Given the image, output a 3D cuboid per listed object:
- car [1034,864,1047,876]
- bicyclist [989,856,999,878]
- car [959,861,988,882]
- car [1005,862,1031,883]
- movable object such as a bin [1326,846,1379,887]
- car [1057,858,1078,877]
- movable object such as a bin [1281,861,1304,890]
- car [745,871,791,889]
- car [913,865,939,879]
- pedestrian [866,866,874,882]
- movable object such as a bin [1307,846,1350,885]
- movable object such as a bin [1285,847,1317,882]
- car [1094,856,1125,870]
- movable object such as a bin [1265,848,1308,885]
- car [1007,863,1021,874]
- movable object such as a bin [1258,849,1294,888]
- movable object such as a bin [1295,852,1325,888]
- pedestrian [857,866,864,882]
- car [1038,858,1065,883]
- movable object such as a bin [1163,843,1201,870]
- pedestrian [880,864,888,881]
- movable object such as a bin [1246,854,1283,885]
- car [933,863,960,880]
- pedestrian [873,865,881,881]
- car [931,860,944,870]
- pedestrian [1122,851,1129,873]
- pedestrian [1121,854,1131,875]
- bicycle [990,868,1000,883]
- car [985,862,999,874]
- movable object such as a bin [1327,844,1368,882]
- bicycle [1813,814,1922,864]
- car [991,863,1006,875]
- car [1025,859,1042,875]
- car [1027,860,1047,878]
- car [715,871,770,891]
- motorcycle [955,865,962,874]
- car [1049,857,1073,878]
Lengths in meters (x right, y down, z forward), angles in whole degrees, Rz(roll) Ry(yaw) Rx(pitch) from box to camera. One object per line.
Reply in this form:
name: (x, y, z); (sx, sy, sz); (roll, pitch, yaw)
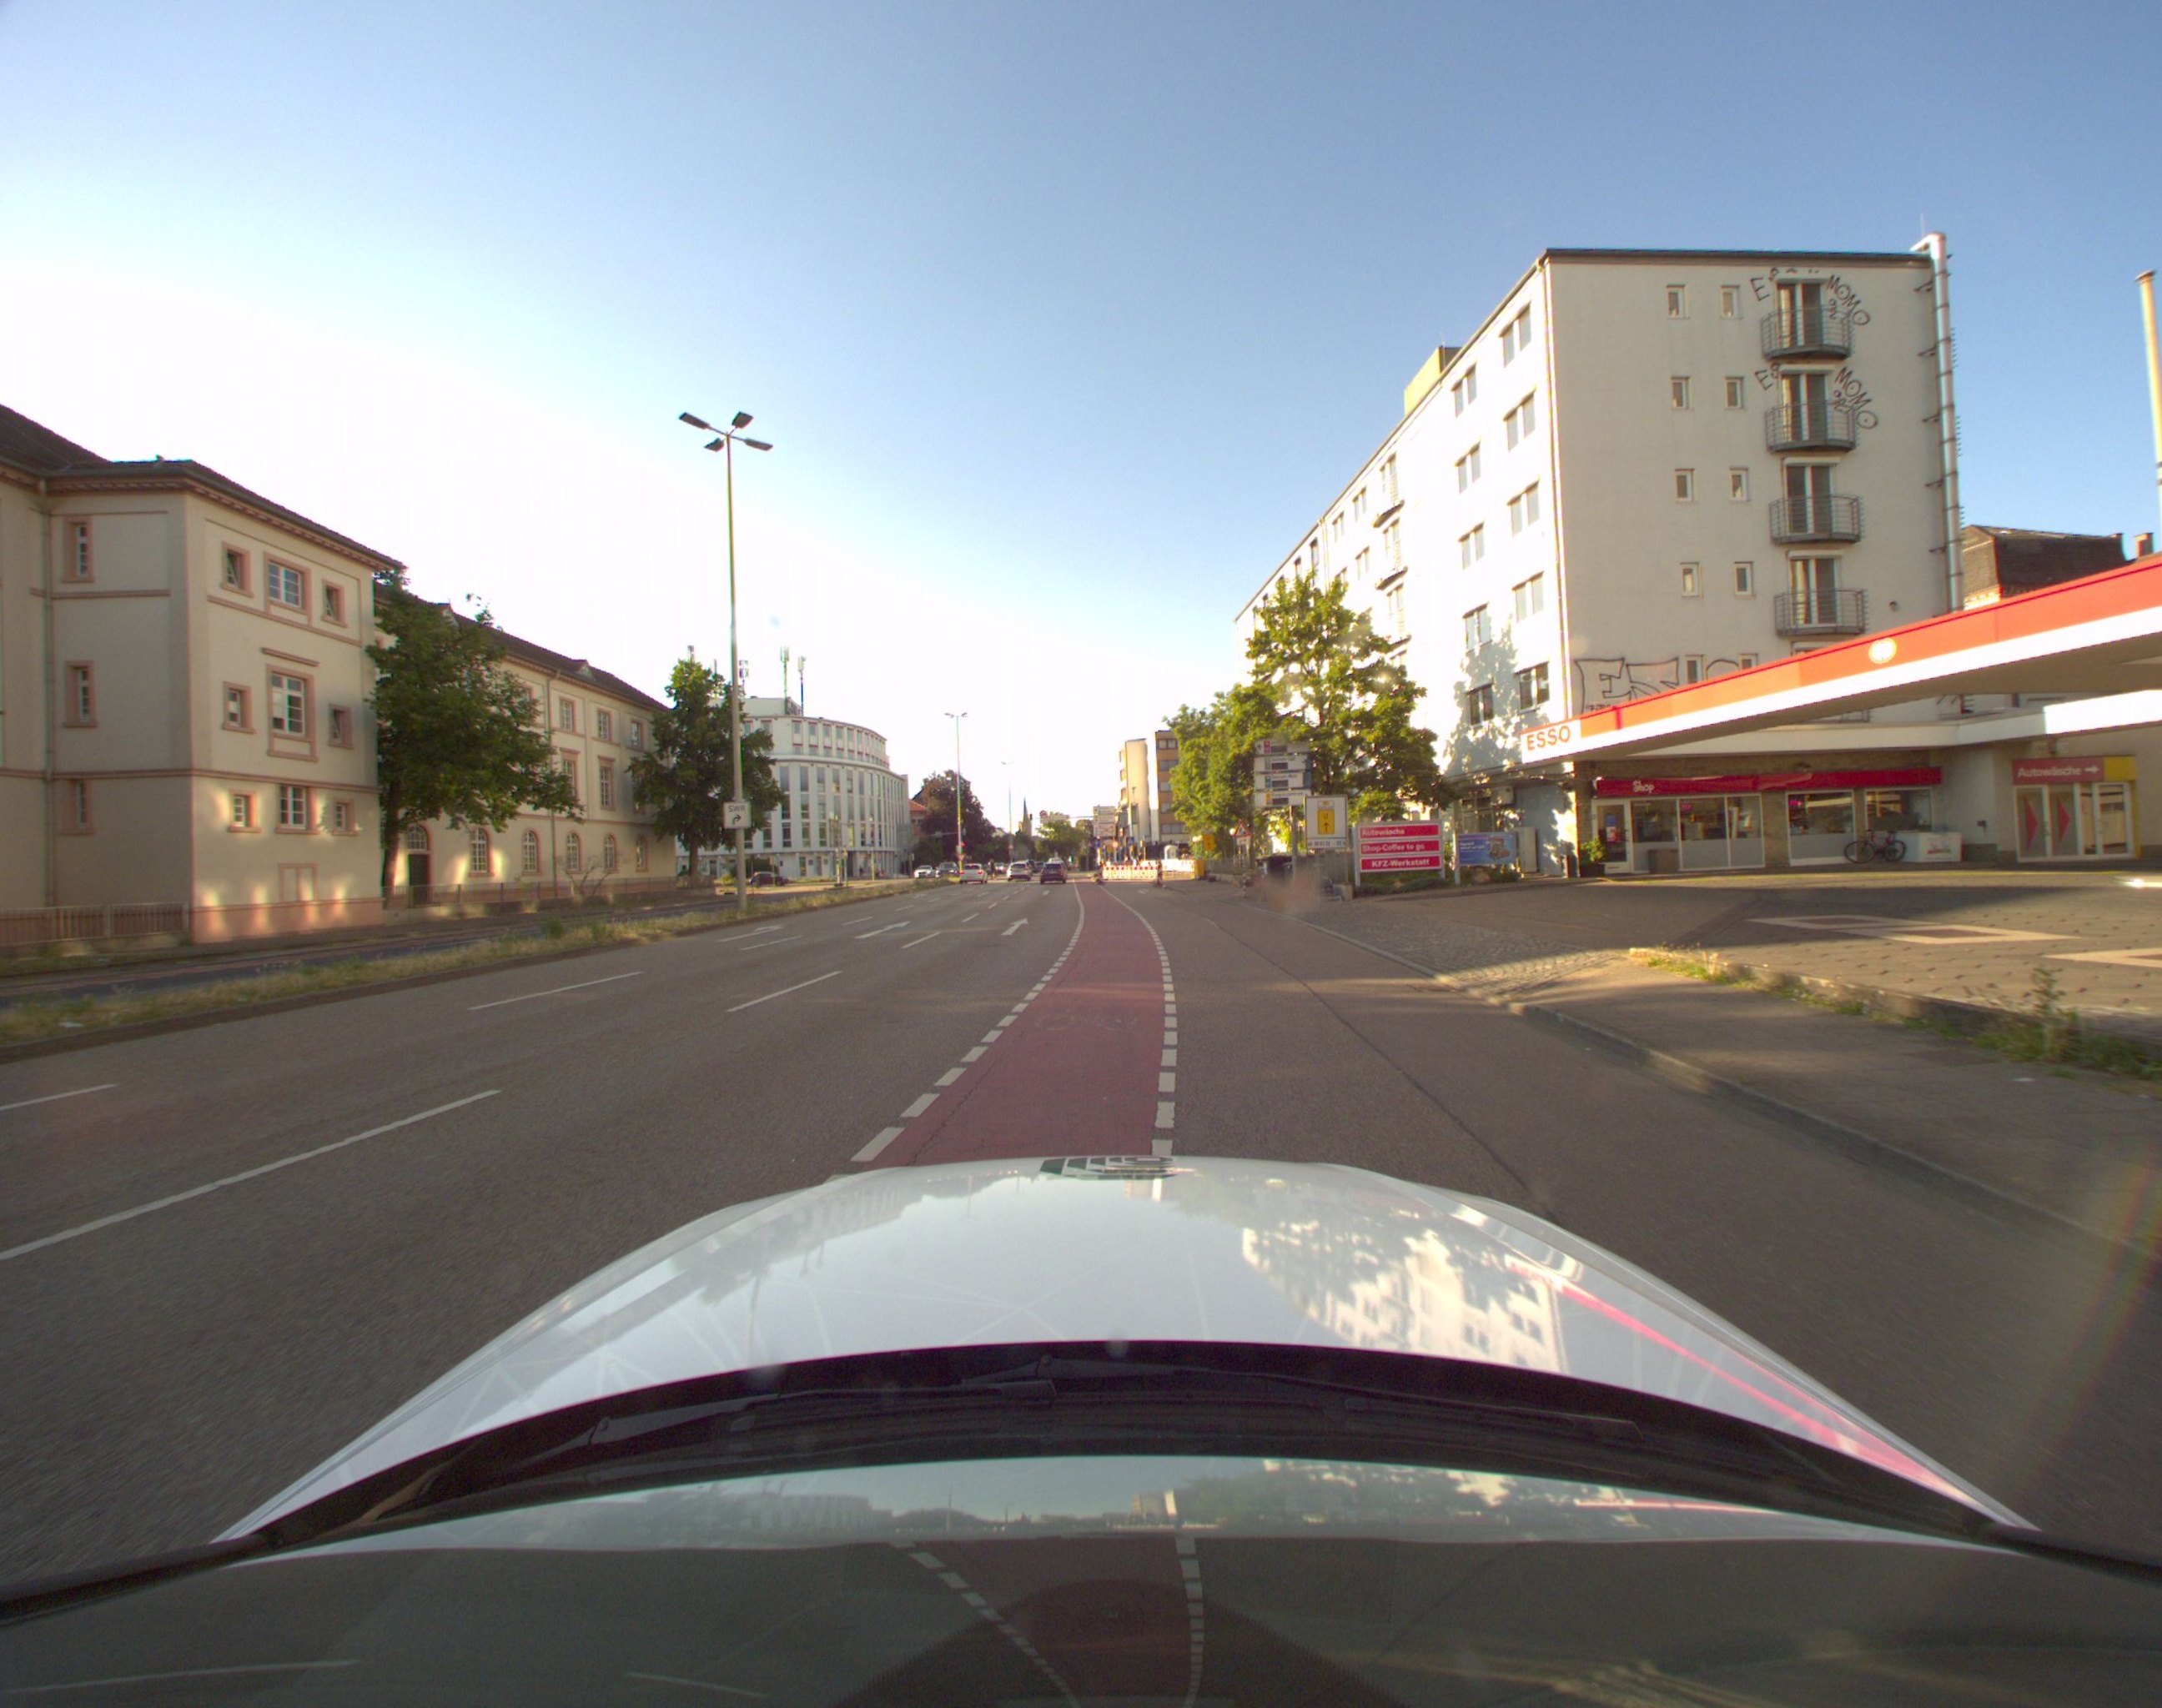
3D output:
car: (-5.975, 2.331, 119.770); (1.659, 1.657, 3.998); (-2, -1, -1)
bicyclist: (-7.017, 1.068, 65.879); (0.689, 1.728, 0.986); (-2, -1, -5)
car: (-8.026, 1.314, 61.024); (1.680, 1.457, 3.998); (-2, 0, -1)
car: (-5.012, 1.451, 65.184); (1.743, 1.564, 4.048); (-2, 0, -1)
movable object such as a bin: (10.007, 0.450, 30.076); (1.604, 1.410, 0.864); (-3, -1, -3)
car: (-1.244, 1.223, 74.090); (1.815, 1.640, 3.996); (-3, 0, -2)
movable object such as a bin: (7.717, 0.782, 29.728); (0.617, 1.046, 0.616); (-3, -1, 1)
car: (-30.936, 2.585, 80.594); (3.802, 1.530, 1.860); (-4, -2, -5)
car: (-17.258, 1.995, 90.678); (1.987, 1.413, 4.442); (-3, 0, 0)
pedestrian: (-24.597, 2.287, 94.955); (0.759, 1.842, 0.815); (-2, -1, -12)
movable object such as a bin: (9.842, 0.429, 32.429); (1.303, 1.433, 1.280); (-4, 0, 3)
movable object such as a bin: (9.923, 0.478, 36.767); (1.100, 1.485, 0.955); (-2, -1, -3)
car: (4.160, 1.301, 119.545); (4.354, 1.877, 1.998); (-2, -1, -3)
movable object such as a bin: (8.758, 0.537, 34.712); (1.327, 1.485, 1.206); (-2, -1, -11)
car: (-9.609, 2.003, 116.522); (1.844, 1.461, 4.043); (-2, 0, -4)
movable object such as a bin: (7.901, 0.604, 33.034); (1.089, 1.508, 1.253); (-2, -3, -1)
movable object such as a bin: (8.455, 0.587, 30.090); (0.775, 1.309, 0.864); (-2, -1, -3)
pedestrian: (-25.656, 2.346, 94.768); (0.661, 1.859, 0.775); (-2, -1, -14)
car: (-1.994, 1.128, 56.070); (1.743, 1.564, 4.048); (-2, 0, -1)
movable object such as a bin: (9.616, 0.244, 77.731); (3.320, 2.383, 1.527); (-2, -1, -3)
pedestrian: (-22.778, 2.113, 94.237); (0.626, 1.868, 1.124); (-2, -1, -7)
movable object such as a bin: (8.266, 0.698, 36.651); (1.216, 1.344, 1.049); (-2, -1, -17)
car: (-13.461, 1.711, 81.683); (1.988, 1.578, 4.895); (-2, -1, -2)
pedestrian: (-23.547, 2.177, 94.091); (0.658, 1.868, 0.777); (-2, -1, -3)
car: (-23.939, 1.897, 136.095); (1.840, 1.572, 3.988); (-2, -1, -8)
pedestrian: (3.835, 0.716, 70.489); (0.519, 1.868, 0.614); (-2, -1, 0)
pedestrian: (3.856, 0.901, 69.719); (0.738, 1.799, 0.716); (-2, -1, 2)
bicycle: (-6.987, 1.743, 65.975); (0.698, 1.100, 2.254); (-2, -1, -4)
car: (-14.287, 2.168, 130.738); (1.911, 1.811, 4.710); (-2, 0, -4)
movable object such as a bin: (10.709, 0.366, 32.754); (1.191, 1.421, 1.279); (-4, 0, 1)
bicycle: (23.222, -0.439, 24.061); (2.797, 1.314, 0.526); (-3, -1, -4)
car: (-11.239, 2.001, 111.342); (1.844, 1.461, 4.043); (-2, 0, -4)
car: (-5.280, 1.473, 91.100); (1.659, 1.657, 3.998); (-2, -1, -1)
car: (-4.180, 1.437, 78.127); (1.743, 1.564, 4.048); (-2, 0, -1)
car: (-32.243, 2.574, 77.601); (4.328, 1.629, 2.001); (-3, -1, 2)
motorcycle: (-17.412, 2.188, 115.697); (0.768, 1.284, 2.839); (-2, -1, -3)
car: (-1.570, 1.057, 66.263); (1.722, 1.579, 3.724); (-3, 0, 1)
